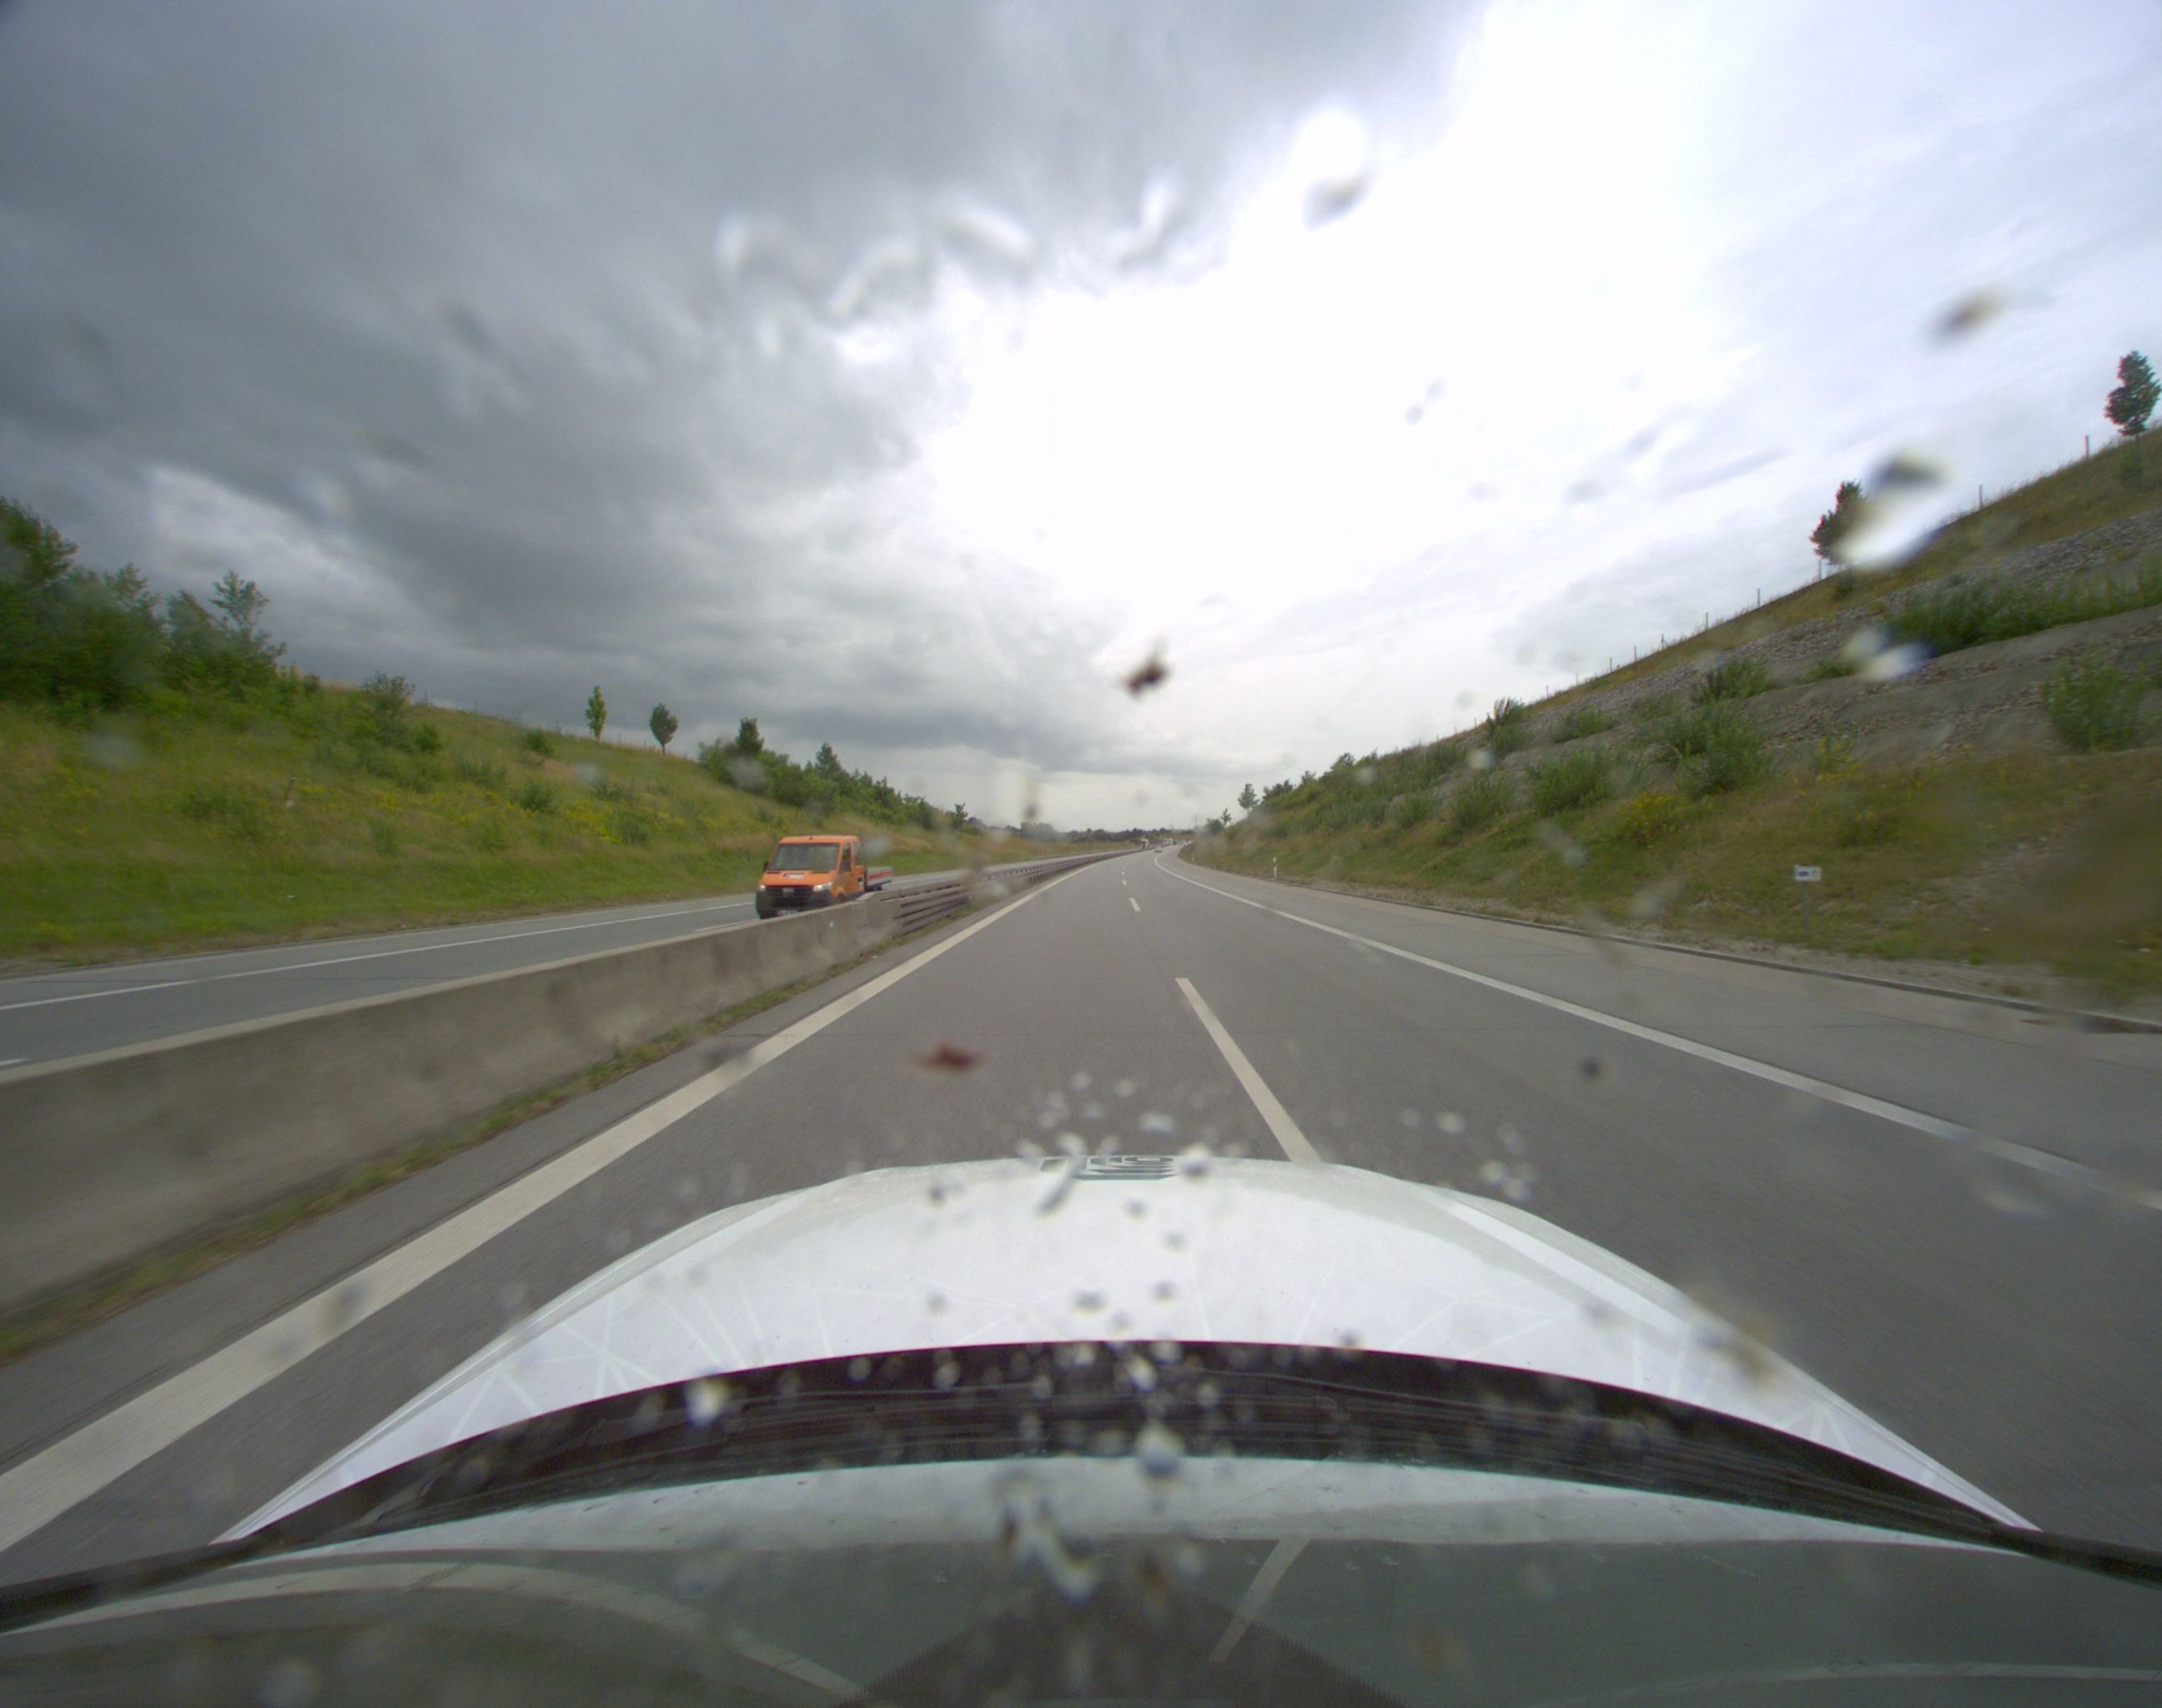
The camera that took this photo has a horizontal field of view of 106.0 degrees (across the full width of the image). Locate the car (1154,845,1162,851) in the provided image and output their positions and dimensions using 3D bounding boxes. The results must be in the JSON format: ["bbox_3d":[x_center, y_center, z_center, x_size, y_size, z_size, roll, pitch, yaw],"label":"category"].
[{"bbox_3d":[21.508,-1.612,228.059,1.946,1.651,4.008,-1,0,7],"label":"car"}]

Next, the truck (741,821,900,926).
[{"bbox_3d":[-7.081,0.478,23.122,2.182,2.509,6.556,-1,0,1],"label":"truck"}]
